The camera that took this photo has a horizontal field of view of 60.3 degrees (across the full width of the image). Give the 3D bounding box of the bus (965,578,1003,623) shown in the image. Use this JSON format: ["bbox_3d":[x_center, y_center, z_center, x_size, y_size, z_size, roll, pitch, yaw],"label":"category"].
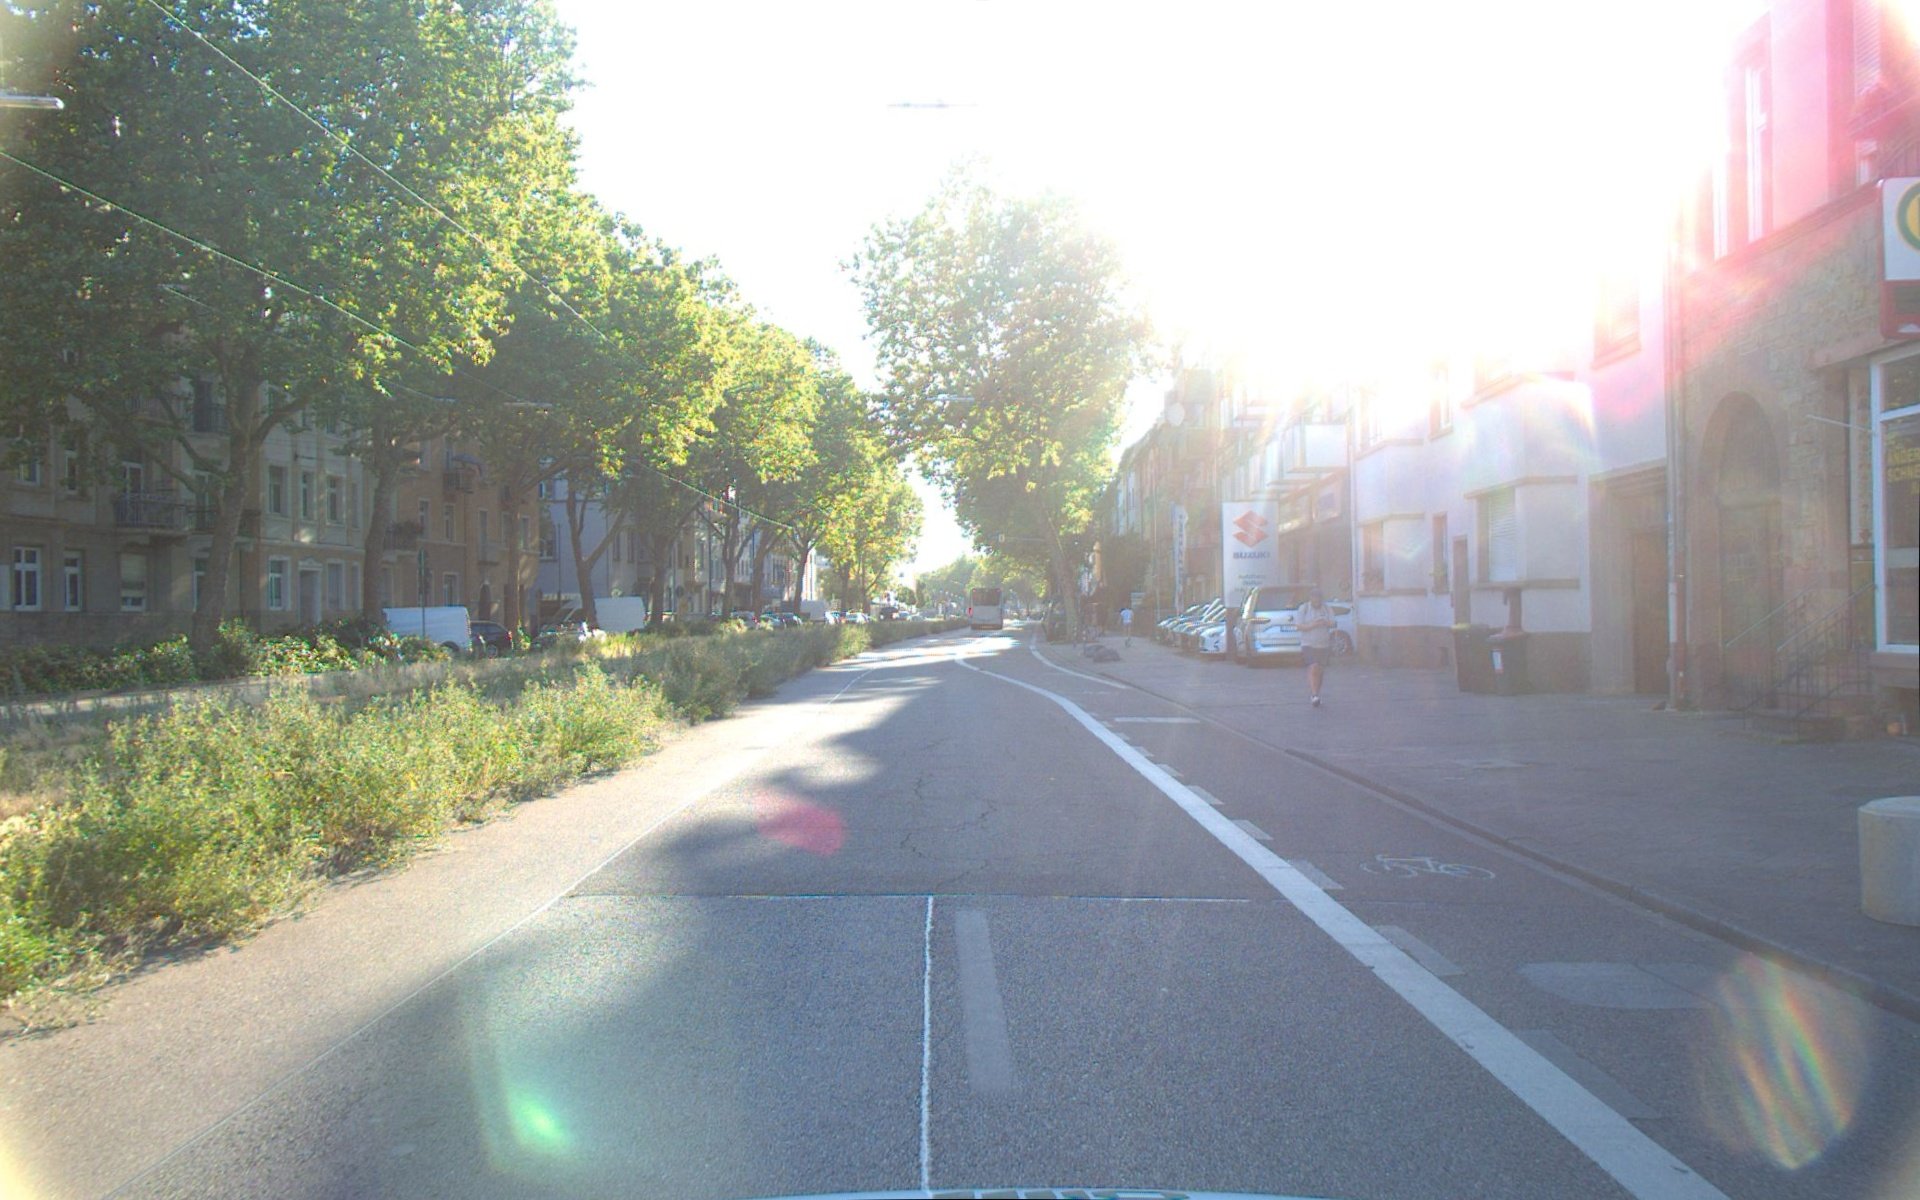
[{"bbox_3d":[1.821,0.108,127.490,2.775,3.292,8.181,-1,-1,0],"label":"bus"}]

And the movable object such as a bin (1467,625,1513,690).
[{"bbox_3d":[8.240,0.889,25.743,0.542,0.986,0.585,-1,-1,4],"label":"movable object such as a bin"}]

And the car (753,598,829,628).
[{"bbox_3d":[-15.953,1.235,155.967,6.831,2.725,2.174,-1,-1,-19],"label":"car"}]

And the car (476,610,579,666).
[{"bbox_3d":[-13.105,1.114,50.418,1.681,1.512,4.700,-4,0,2],"label":"car"}]

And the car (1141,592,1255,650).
[{"bbox_3d":[7.692,0.670,53.650,3.505,1.750,1.683,-1,1,4],"label":"car"}]

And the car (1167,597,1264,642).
[{"bbox_3d":[9.249,0.701,60.052,3.346,1.545,1.758,-1,-1,4],"label":"car"}]

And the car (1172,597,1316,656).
[{"bbox_3d":[8.067,0.743,47.222,3.789,1.540,1.809,-1,0,1],"label":"car"}]

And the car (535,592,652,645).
[{"bbox_3d":[-18.471,0.920,83.543,5.457,2.573,2.095,-1,0,-40],"label":"car"}]

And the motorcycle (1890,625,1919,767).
[{"bbox_3d":[8.098,0.759,12.569,0.577,1.157,2.504,-1,-1,-1],"label":"motorcycle"}]

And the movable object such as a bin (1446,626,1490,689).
[{"bbox_3d":[8.132,0.915,26.496,0.542,0.986,0.585,-1,-1,4],"label":"movable object such as a bin"}]

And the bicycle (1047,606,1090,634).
[{"bbox_3d":[4.616,0.858,70.597,1.806,1.163,0.348,-1,-1,2],"label":"bicycle"}]

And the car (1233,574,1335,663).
[{"bbox_3d":[7.701,0.459,39.726,1.852,1.983,4.903,-1,-1,5],"label":"car"}]

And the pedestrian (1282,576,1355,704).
[{"bbox_3d":[5.320,0.592,24.611,0.811,1.844,1.150,-1,-1,1],"label":"pedestrian"}]

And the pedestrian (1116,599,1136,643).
[{"bbox_3d":[6.333,0.809,63.102,0.649,1.657,0.923,-1,-1,2],"label":"pedestrian"}]

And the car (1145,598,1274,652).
[{"bbox_3d":[7.746,0.762,51.541,3.740,1.567,1.859,-1,0,0],"label":"car"}]

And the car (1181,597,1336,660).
[{"bbox_3d":[7.963,0.746,44.318,3.735,1.527,1.913,-1,1,-3],"label":"car"}]

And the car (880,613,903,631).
[{"bbox_3d":[-6.944,2.242,167.116,1.834,1.723,4.767,-1,-1,-8],"label":"car"}]

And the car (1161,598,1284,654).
[{"bbox_3d":[7.789,0.767,49.273,3.349,1.552,1.740,-1,0,-2],"label":"car"}]

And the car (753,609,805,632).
[{"bbox_3d":[-15.333,1.708,140.298,3.944,1.728,1.838,-3,0,-29],"label":"car"}]

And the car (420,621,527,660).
[{"bbox_3d":[-19.132,1.578,65.064,3.693,1.447,1.697,-1,0,-40],"label":"car"}]

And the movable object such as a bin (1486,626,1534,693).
[{"bbox_3d":[8.347,0.898,25.098,0.542,0.986,0.585,-1,-1,4],"label":"movable object such as a bin"}]

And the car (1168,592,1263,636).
[{"bbox_3d":[9.678,0.532,62.847,3.348,1.573,1.442,-1,-1,0],"label":"car"}]

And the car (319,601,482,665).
[{"bbox_3d":[-19.701,1.135,58.384,5.197,2.102,1.697,-1,0,-40],"label":"car"}]

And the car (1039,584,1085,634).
[{"bbox_3d":[4.868,0.458,79.276,1.952,2.297,5.236,-1,-1,1],"label":"car"}]
